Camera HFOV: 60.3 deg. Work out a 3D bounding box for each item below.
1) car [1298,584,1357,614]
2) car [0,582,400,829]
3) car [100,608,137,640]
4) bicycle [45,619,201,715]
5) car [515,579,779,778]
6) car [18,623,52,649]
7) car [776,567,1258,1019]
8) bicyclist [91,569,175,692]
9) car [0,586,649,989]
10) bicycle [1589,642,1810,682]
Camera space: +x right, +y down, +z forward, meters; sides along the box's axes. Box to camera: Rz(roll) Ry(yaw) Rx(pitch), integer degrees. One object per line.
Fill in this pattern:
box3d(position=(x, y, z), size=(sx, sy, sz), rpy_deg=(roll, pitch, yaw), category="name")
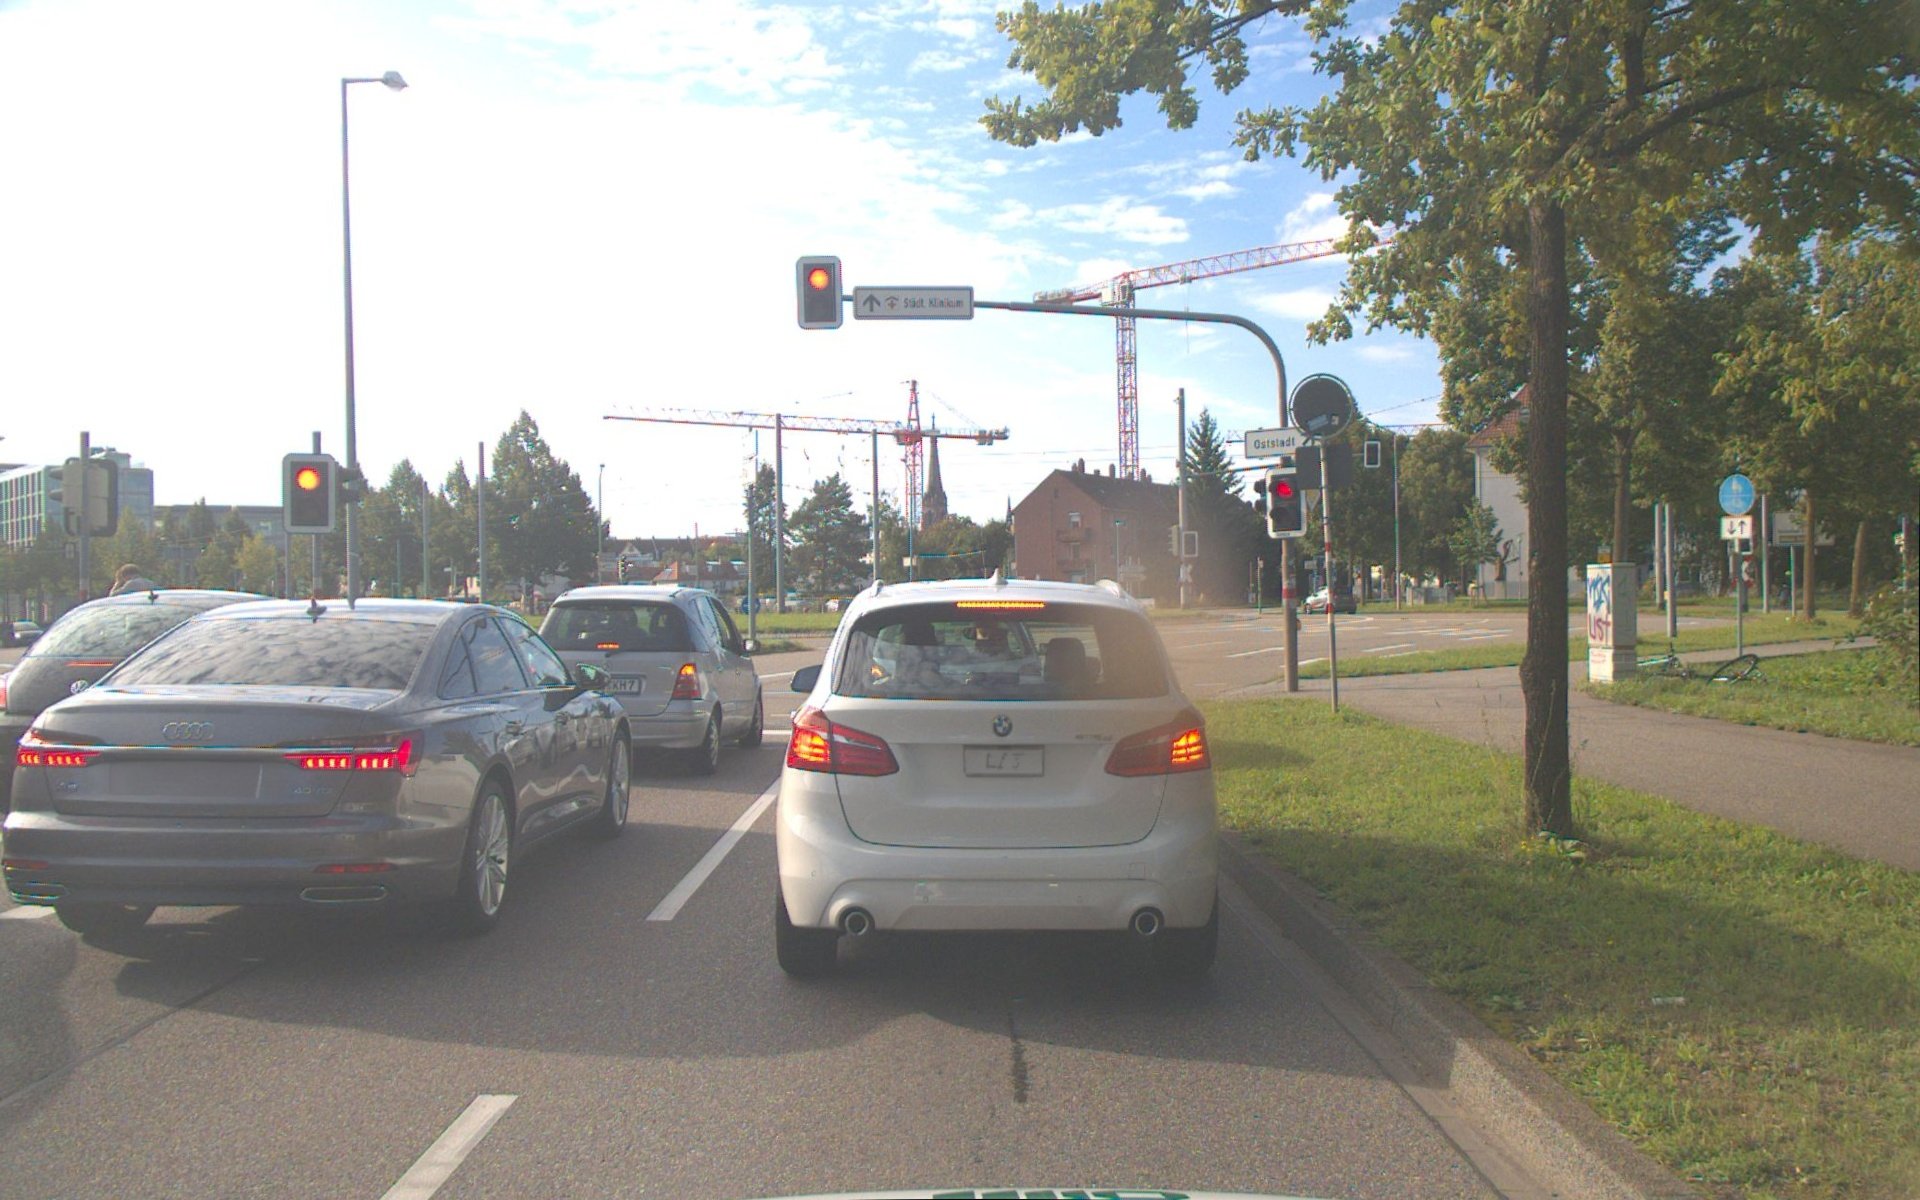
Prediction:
box3d(position=(19.884, -0.040, 89.620), size=(1.549, 1.601, 3.175), rpy_deg=(-1, 0, -23), category="car")
box3d(position=(-5.605, 0.659, 12.297), size=(1.646, 1.549, 3.809), rpy_deg=(0, 0, -1), category="car")
box3d(position=(-44.309, 1.251, 87.086), size=(1.686, 1.601, 3.963), rpy_deg=(-1, 0, -28), category="car")
box3d(position=(-10.879, 0.857, 21.545), size=(1.698, 1.184, 0.653), rpy_deg=(-1, 0, -17), category="bicycle")
box3d(position=(-2.729, 0.621, 15.289), size=(1.694, 1.585, 4.057), rpy_deg=(0, 0, -1), category="car")
box3d(position=(-52.786, 2.047, 94.450), size=(1.574, 1.440, 3.635), rpy_deg=(-1, 0, -28), category="car")
box3d(position=(0.171, 0.676, 7.858), size=(1.694, 1.585, 4.057), rpy_deg=(0, 0, -1), category="car")
box3d(position=(-10.778, 0.388, 21.587), size=(0.835, 1.553, 0.737), rpy_deg=(-1, 0, -17), category="bicyclist")
box3d(position=(-2.929, 0.715, 8.526), size=(1.851, 1.509, 4.612), rpy_deg=(0, 0, -1), category="car")
box3d(position=(9.485, 0.784, 21.385), size=(1.382, 0.392, 2.569), rpy_deg=(-1, 0, -12), category="bicycle")
